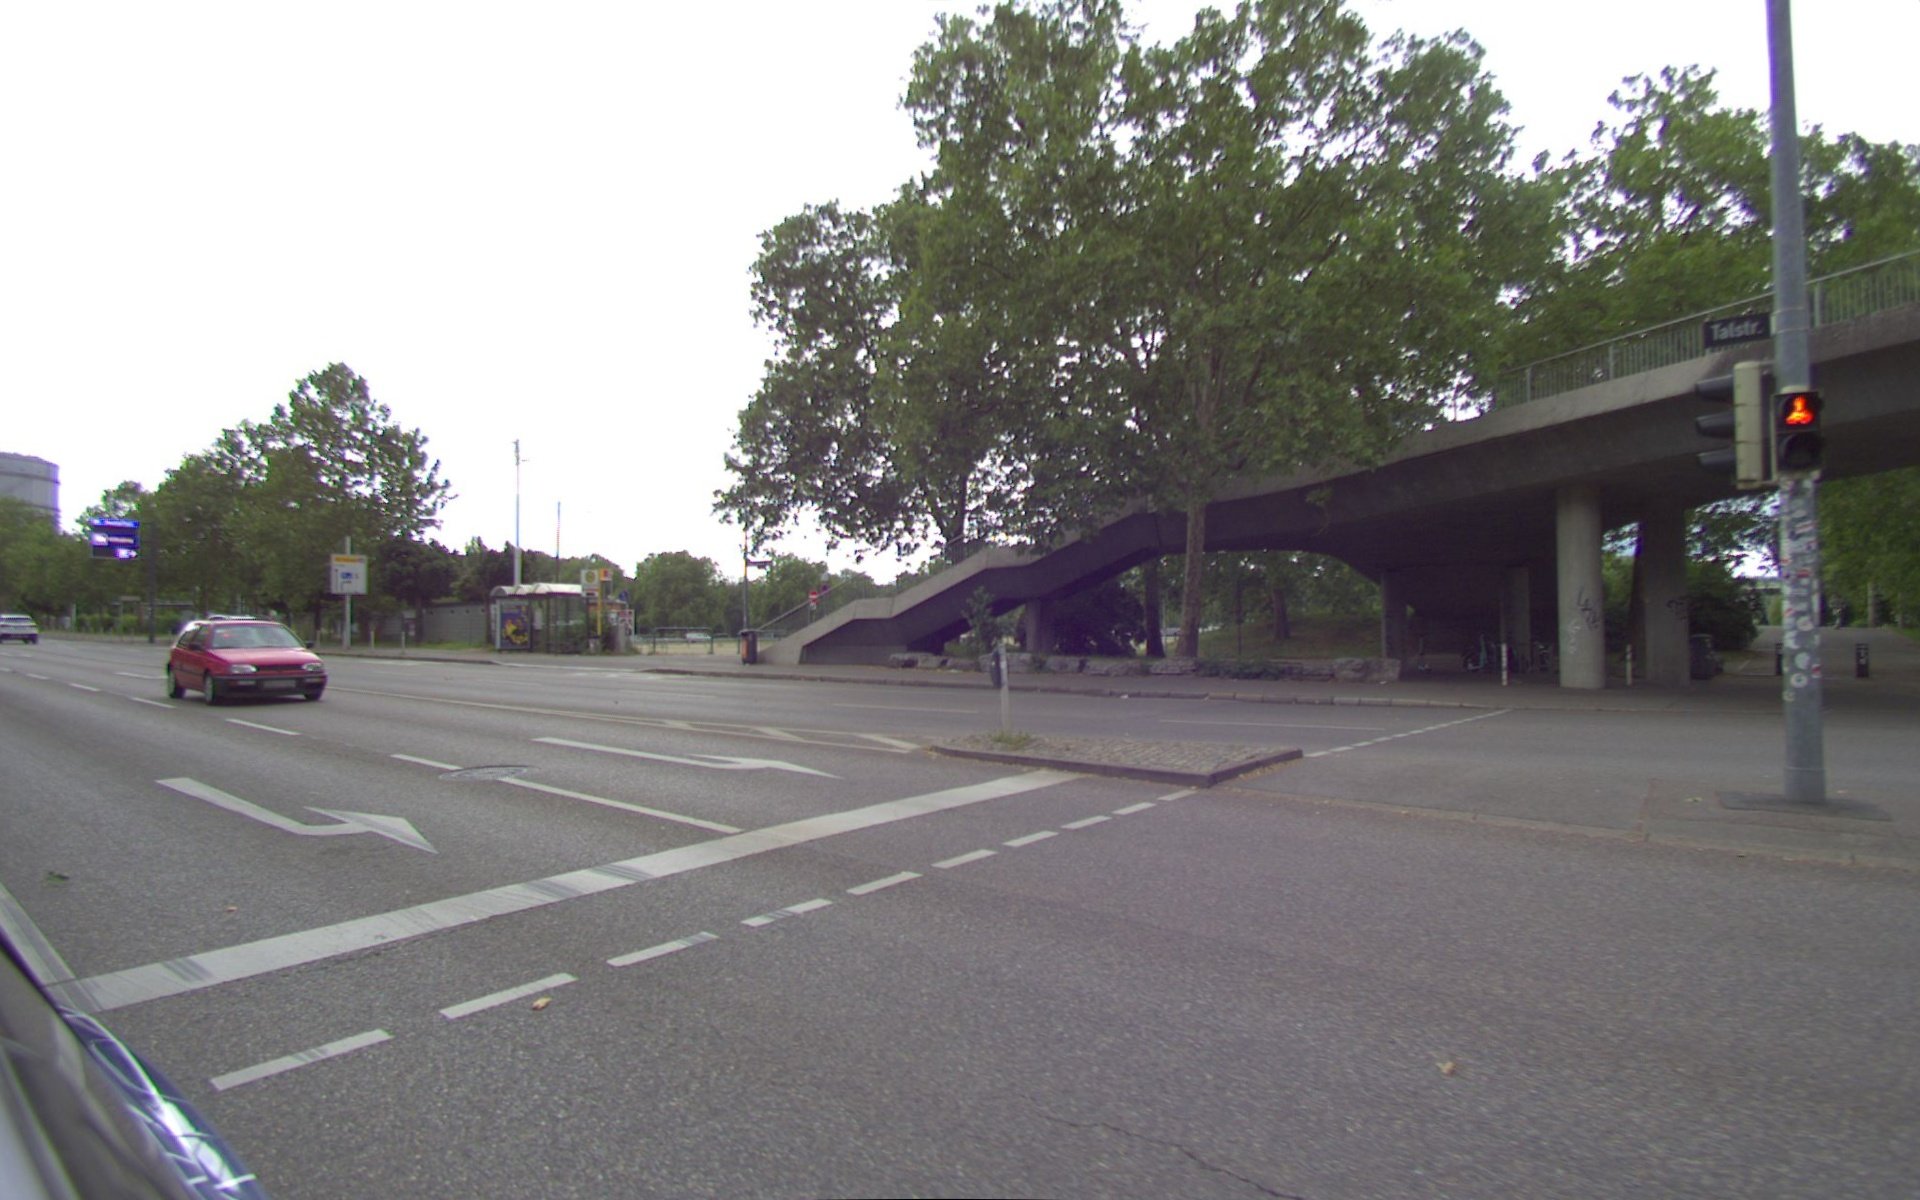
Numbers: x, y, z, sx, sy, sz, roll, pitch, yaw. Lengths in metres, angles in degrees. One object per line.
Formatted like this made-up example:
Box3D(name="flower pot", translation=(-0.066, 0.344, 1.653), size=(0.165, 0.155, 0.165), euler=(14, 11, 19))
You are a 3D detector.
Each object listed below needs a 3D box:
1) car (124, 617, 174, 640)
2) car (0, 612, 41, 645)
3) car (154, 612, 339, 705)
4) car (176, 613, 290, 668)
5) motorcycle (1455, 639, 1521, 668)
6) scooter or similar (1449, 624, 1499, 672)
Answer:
Box3D(name="car", translation=(-73.800, 2.599, 92.077), size=(4.627, 2.029, 2.365), euler=(-1, -2, 36))
Box3D(name="car", translation=(-56.222, 1.698, 60.036), size=(4.591, 1.758, 1.973), euler=(-4, -3, 40))
Box3D(name="car", translation=(-12.850, 0.975, 18.137), size=(4.074, 1.463, 1.810), euler=(-1, -1, 41))
Box3D(name="car", translation=(-23.208, 1.275, 32.259), size=(4.422, 1.618, 1.752), euler=(-1, -3, 38))
Box3D(name="motorcycle", translation=(16.659, 1.680, 31.959), size=(0.640, 0.858, 1.738), euler=(2, -2, -44))
Box3D(name="scooter or similar", translation=(14.970, 1.398, 29.485), size=(1.226, 1.328, 0.411), euler=(1, -1, 40))
